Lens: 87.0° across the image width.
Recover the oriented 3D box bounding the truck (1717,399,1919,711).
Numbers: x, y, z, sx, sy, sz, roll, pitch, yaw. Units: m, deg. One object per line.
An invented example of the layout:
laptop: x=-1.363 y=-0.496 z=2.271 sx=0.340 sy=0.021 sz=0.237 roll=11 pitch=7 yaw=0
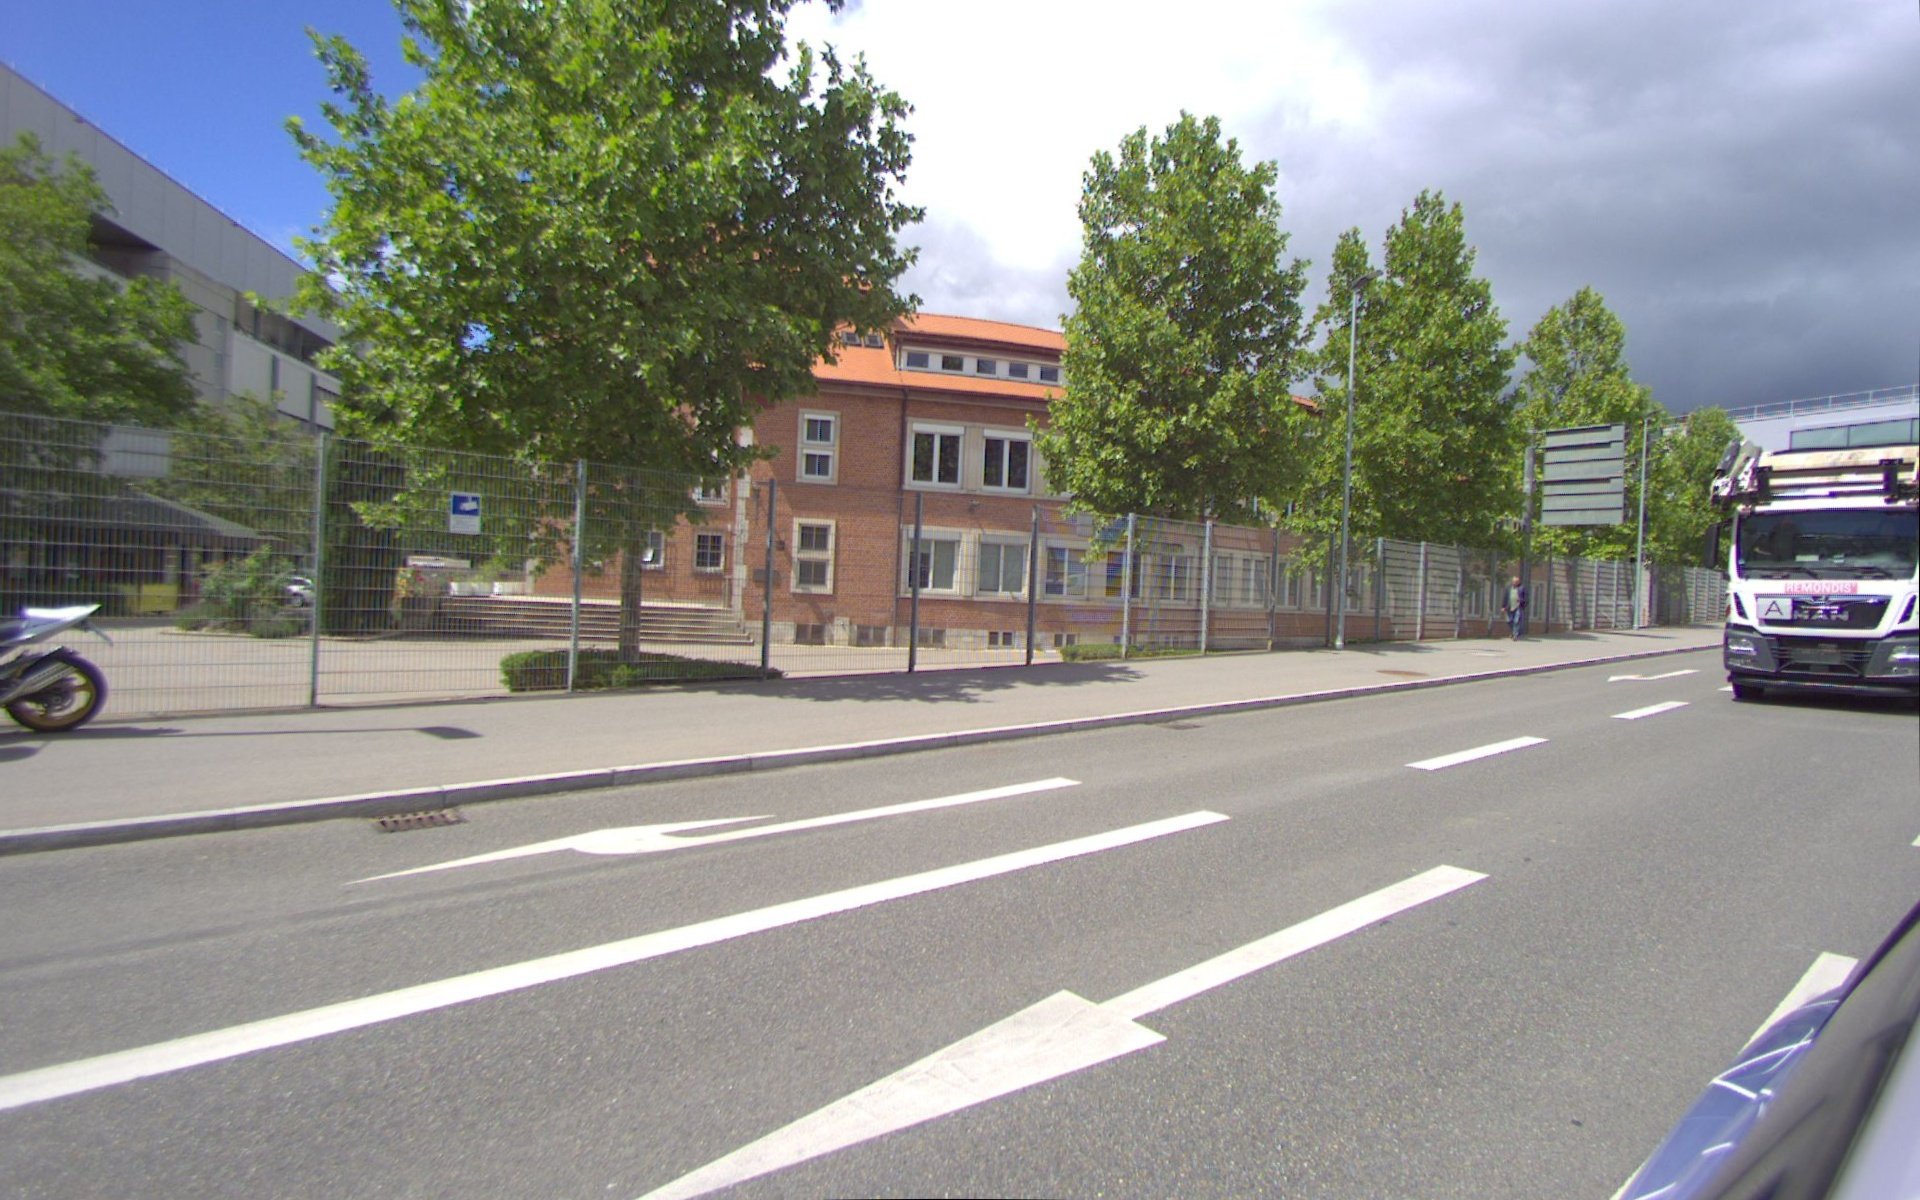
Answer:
truck: x=15.367 y=-0.627 z=16.872 sx=9.999 sy=3.962 sz=2.492 roll=-1 pitch=0 yaw=-42

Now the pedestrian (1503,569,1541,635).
pedestrian: x=15.627 y=0.045 z=28.155 sx=0.696 sy=1.804 sz=0.648 roll=4 pitch=3 yaw=44

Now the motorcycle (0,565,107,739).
motorcycle: x=-7.436 y=0.370 z=7.290 sx=1.978 sy=1.238 sz=0.688 roll=-1 pitch=3 yaw=-41
